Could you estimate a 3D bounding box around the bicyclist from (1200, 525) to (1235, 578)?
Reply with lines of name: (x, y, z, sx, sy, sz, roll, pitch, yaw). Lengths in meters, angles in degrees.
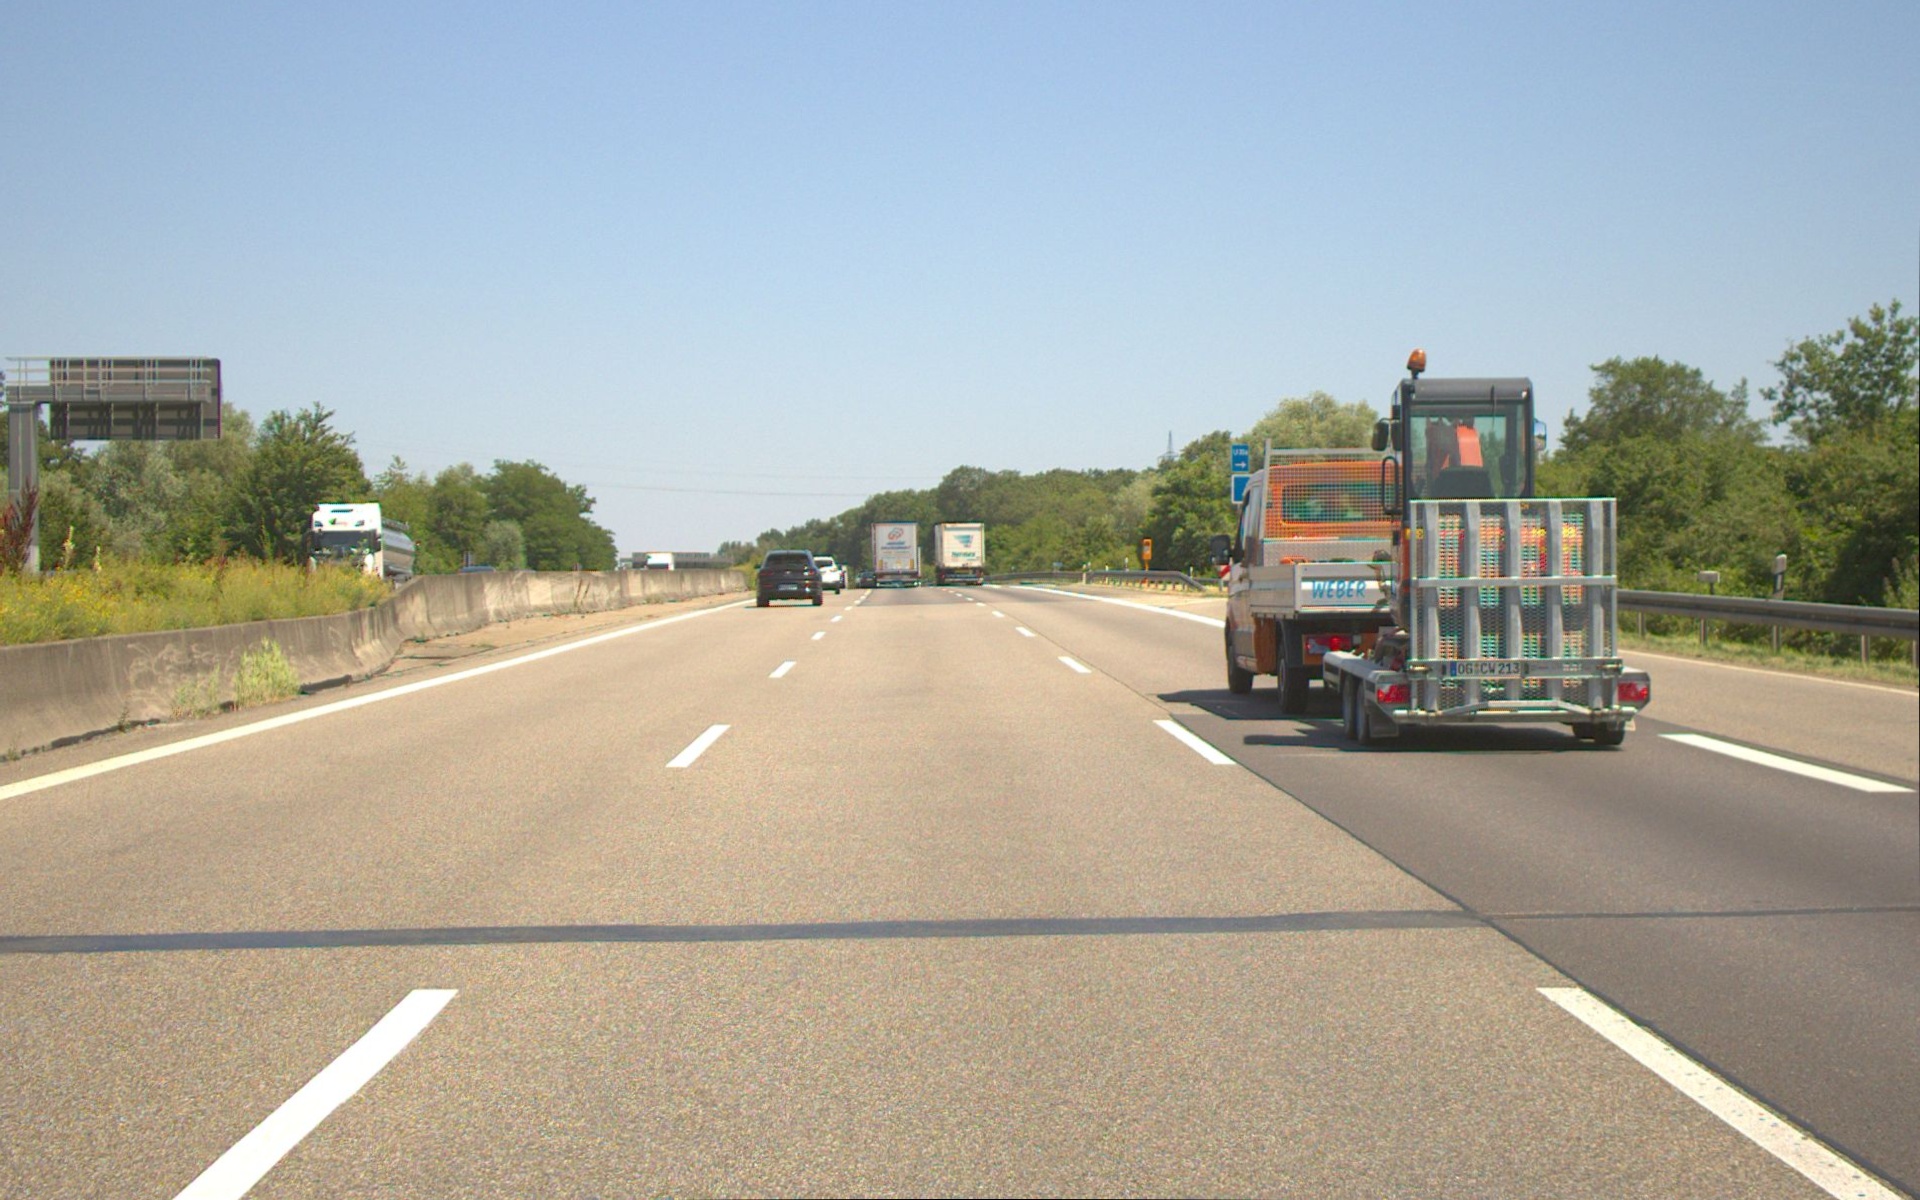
bicyclist: (7.876, -1.480, 105.275, 0.960, 1.590, 0.807, 2, 1, 7)

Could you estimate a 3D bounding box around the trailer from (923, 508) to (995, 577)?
trailer: (-0.099, -3.605, 215.766, 3.367, 4.128, 9.093, 2, 1, -6)

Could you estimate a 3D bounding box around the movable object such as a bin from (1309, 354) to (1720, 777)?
movable object such as a bin: (3.959, -0.267, 25.436, 2.174, 2.806, 4.761, -1, 1, -1)

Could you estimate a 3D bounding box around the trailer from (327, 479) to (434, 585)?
trailer: (-23.517, -2.745, 139.919, 2.807, 4.033, 10.432, 2, 1, -2)

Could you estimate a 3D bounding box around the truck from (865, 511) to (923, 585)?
truck: (-3.943, -3.109, 204.422, 3.229, 4.187, 8.467, 1, 1, -2)

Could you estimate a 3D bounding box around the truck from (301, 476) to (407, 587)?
truck: (-23.221, -2.614, 132.061, 2.807, 4.033, 7.731, 2, 1, -2)

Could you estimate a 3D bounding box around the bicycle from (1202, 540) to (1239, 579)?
bicycle: (7.990, -1.244, 105.350, 0.960, 1.153, 2.606, 2, 1, 7)

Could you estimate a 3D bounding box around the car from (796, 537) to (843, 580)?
car: (-6.286, -1.856, 153.777, 1.993, 1.868, 4.000, 0, 1, -1)

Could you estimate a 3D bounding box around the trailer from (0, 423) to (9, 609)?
trailer: (-22.399, -1.713, 69.838, 2.984, 4.062, 11.775, -1, 1, -1)

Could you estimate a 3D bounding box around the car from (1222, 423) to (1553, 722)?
car: (3.741, -0.277, 31.473, 1.993, 2.397, 7.227, -1, 1, -1)

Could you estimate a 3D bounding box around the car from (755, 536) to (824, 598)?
car: (-5.250, -1.036, 106.319, 1.993, 1.868, 4.000, -1, 1, -1)
